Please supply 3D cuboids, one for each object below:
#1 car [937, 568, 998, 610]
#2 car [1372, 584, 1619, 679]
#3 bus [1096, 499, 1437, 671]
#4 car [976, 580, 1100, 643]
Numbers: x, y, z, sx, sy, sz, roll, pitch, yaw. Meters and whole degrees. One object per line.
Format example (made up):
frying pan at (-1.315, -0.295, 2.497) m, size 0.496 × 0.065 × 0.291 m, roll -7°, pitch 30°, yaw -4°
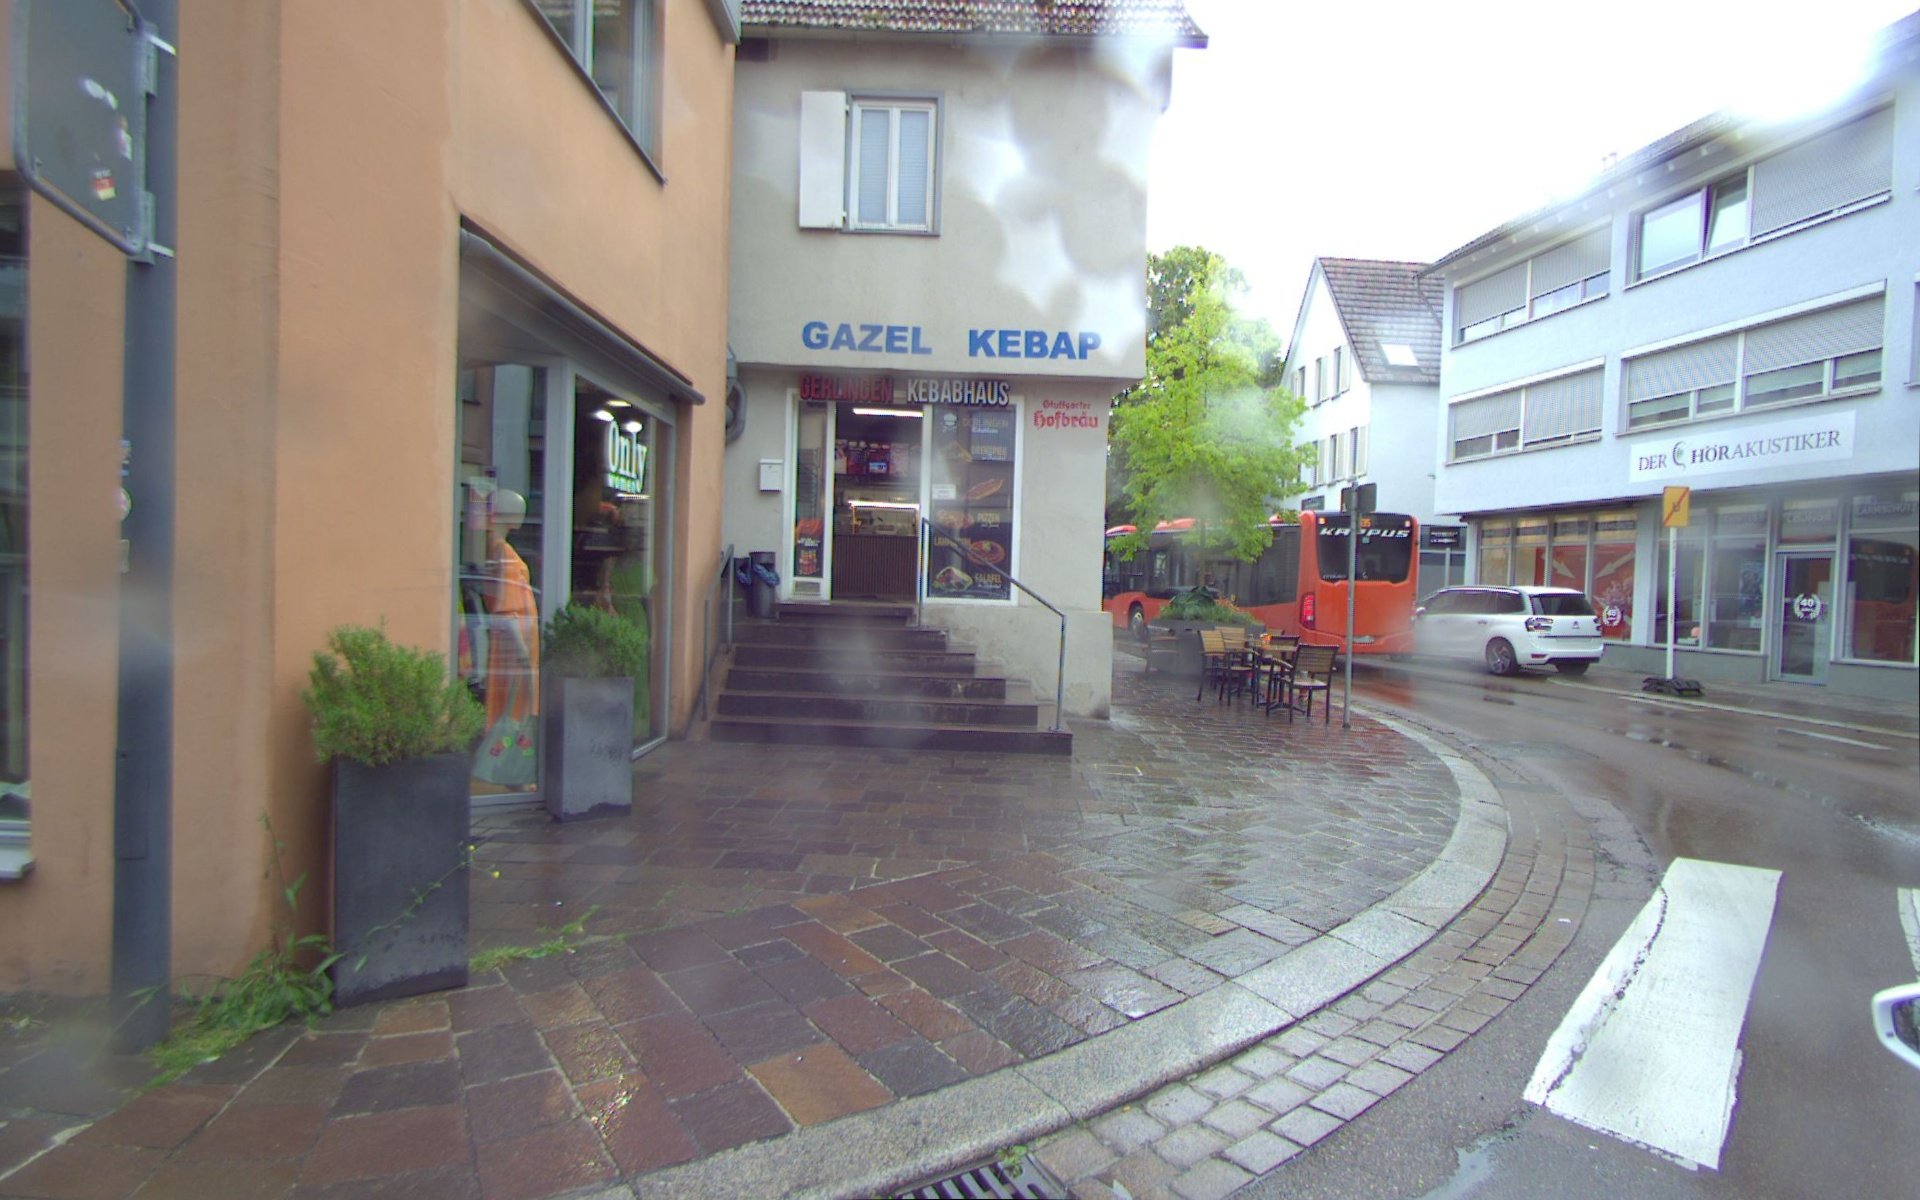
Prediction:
car at (0.272, -0.561, 46.482) m, size 1.918 × 1.805 × 4.715 m, roll 0°, pitch 2°, yaw -11°
car at (10.334, 0.515, 19.844) m, size 1.752 × 1.653 × 4.455 m, roll 0°, pitch 1°, yaw -14°
bus at (6.401, -0.463, 23.718) m, size 2.773 × 3.130 × 10.578 m, roll 0°, pitch 2°, yaw -13°
car at (2.004, 0.267, 27.095) m, size 1.702 × 1.433 × 3.959 m, roll 3°, pitch 1°, yaw -22°
